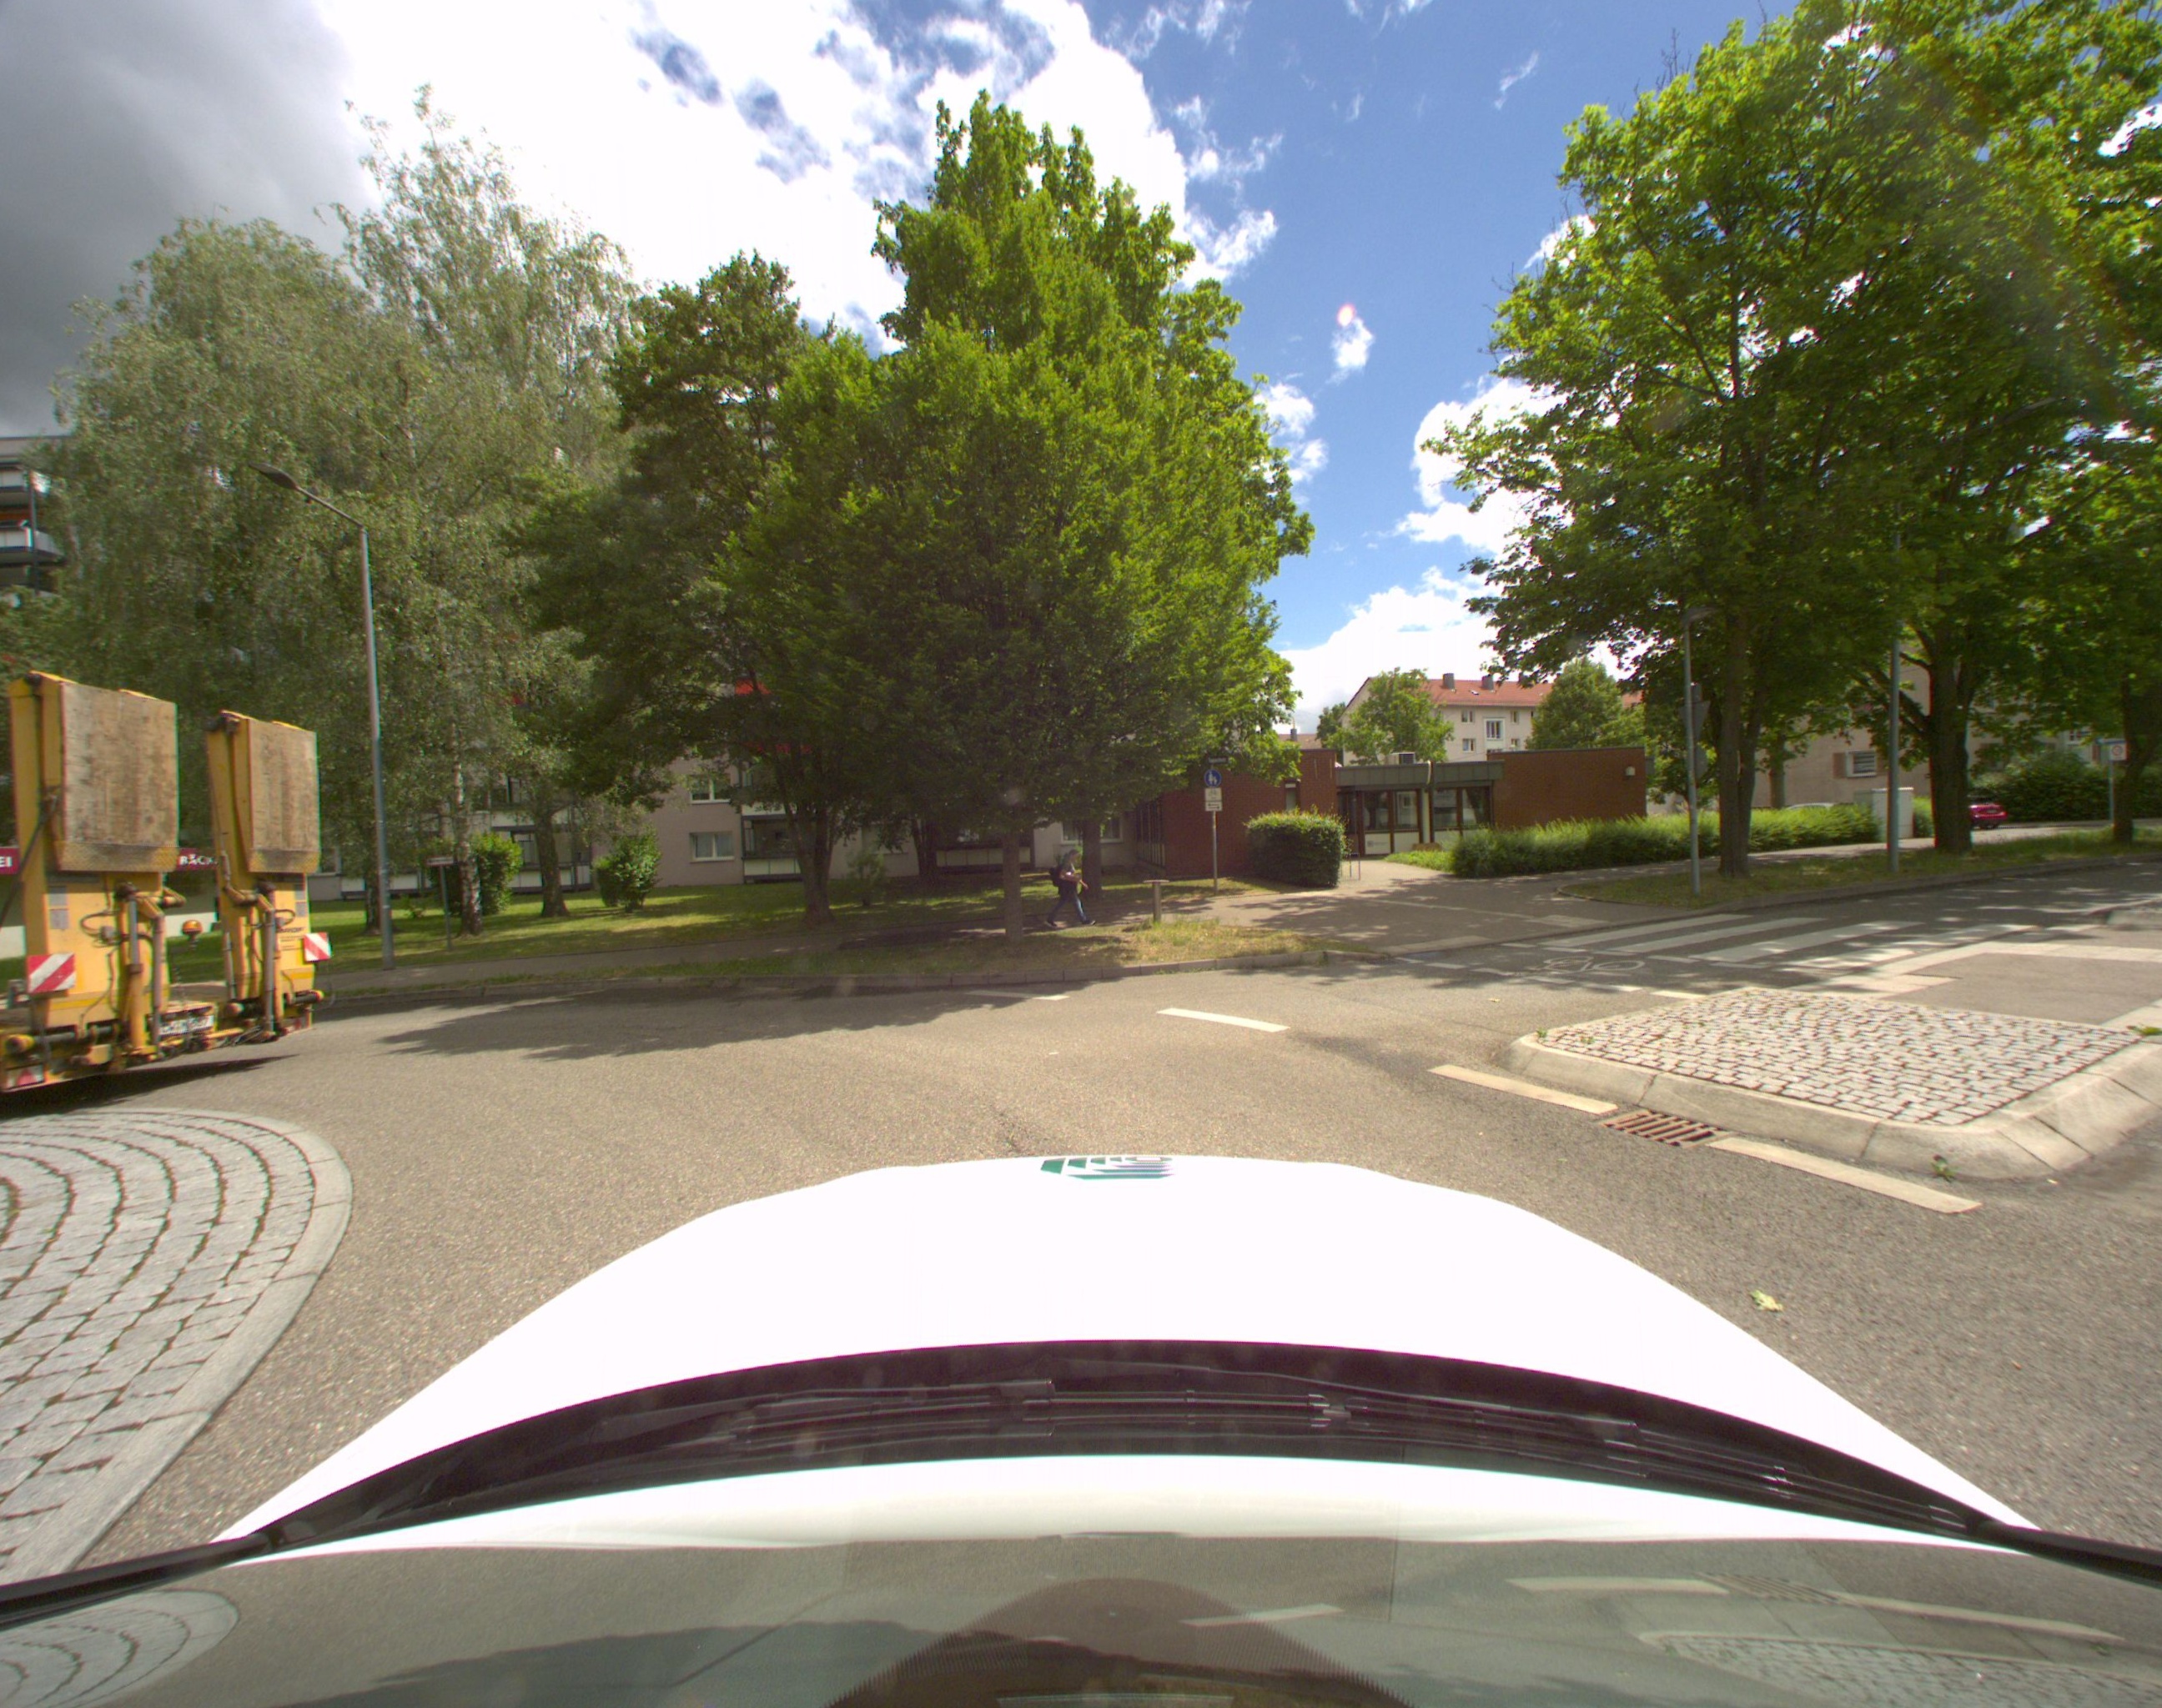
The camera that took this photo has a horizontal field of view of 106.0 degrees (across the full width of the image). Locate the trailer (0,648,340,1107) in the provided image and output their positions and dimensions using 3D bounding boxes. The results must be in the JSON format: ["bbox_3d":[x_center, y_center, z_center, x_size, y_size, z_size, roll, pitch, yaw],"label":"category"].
[{"bbox_3d":[-13.337,0.315,7.159,10.773,3.372,2.872,-2,-1,-1],"label":"trailer"}]

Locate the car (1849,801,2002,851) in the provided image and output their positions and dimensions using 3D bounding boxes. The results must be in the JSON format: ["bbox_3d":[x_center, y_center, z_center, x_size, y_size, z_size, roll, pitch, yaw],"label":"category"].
[{"bbox_3d":[35.208,-1.140,34.088,2.016,1.941,3.979,-2,1,-16],"label":"car"}]

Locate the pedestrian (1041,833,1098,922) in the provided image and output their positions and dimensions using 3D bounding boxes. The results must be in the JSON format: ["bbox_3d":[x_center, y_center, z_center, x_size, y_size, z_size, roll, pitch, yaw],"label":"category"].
[{"bbox_3d":[-0.232,0.441,15.549,0.839,1.579,0.718,-6,1,-11],"label":"pedestrian"}]
